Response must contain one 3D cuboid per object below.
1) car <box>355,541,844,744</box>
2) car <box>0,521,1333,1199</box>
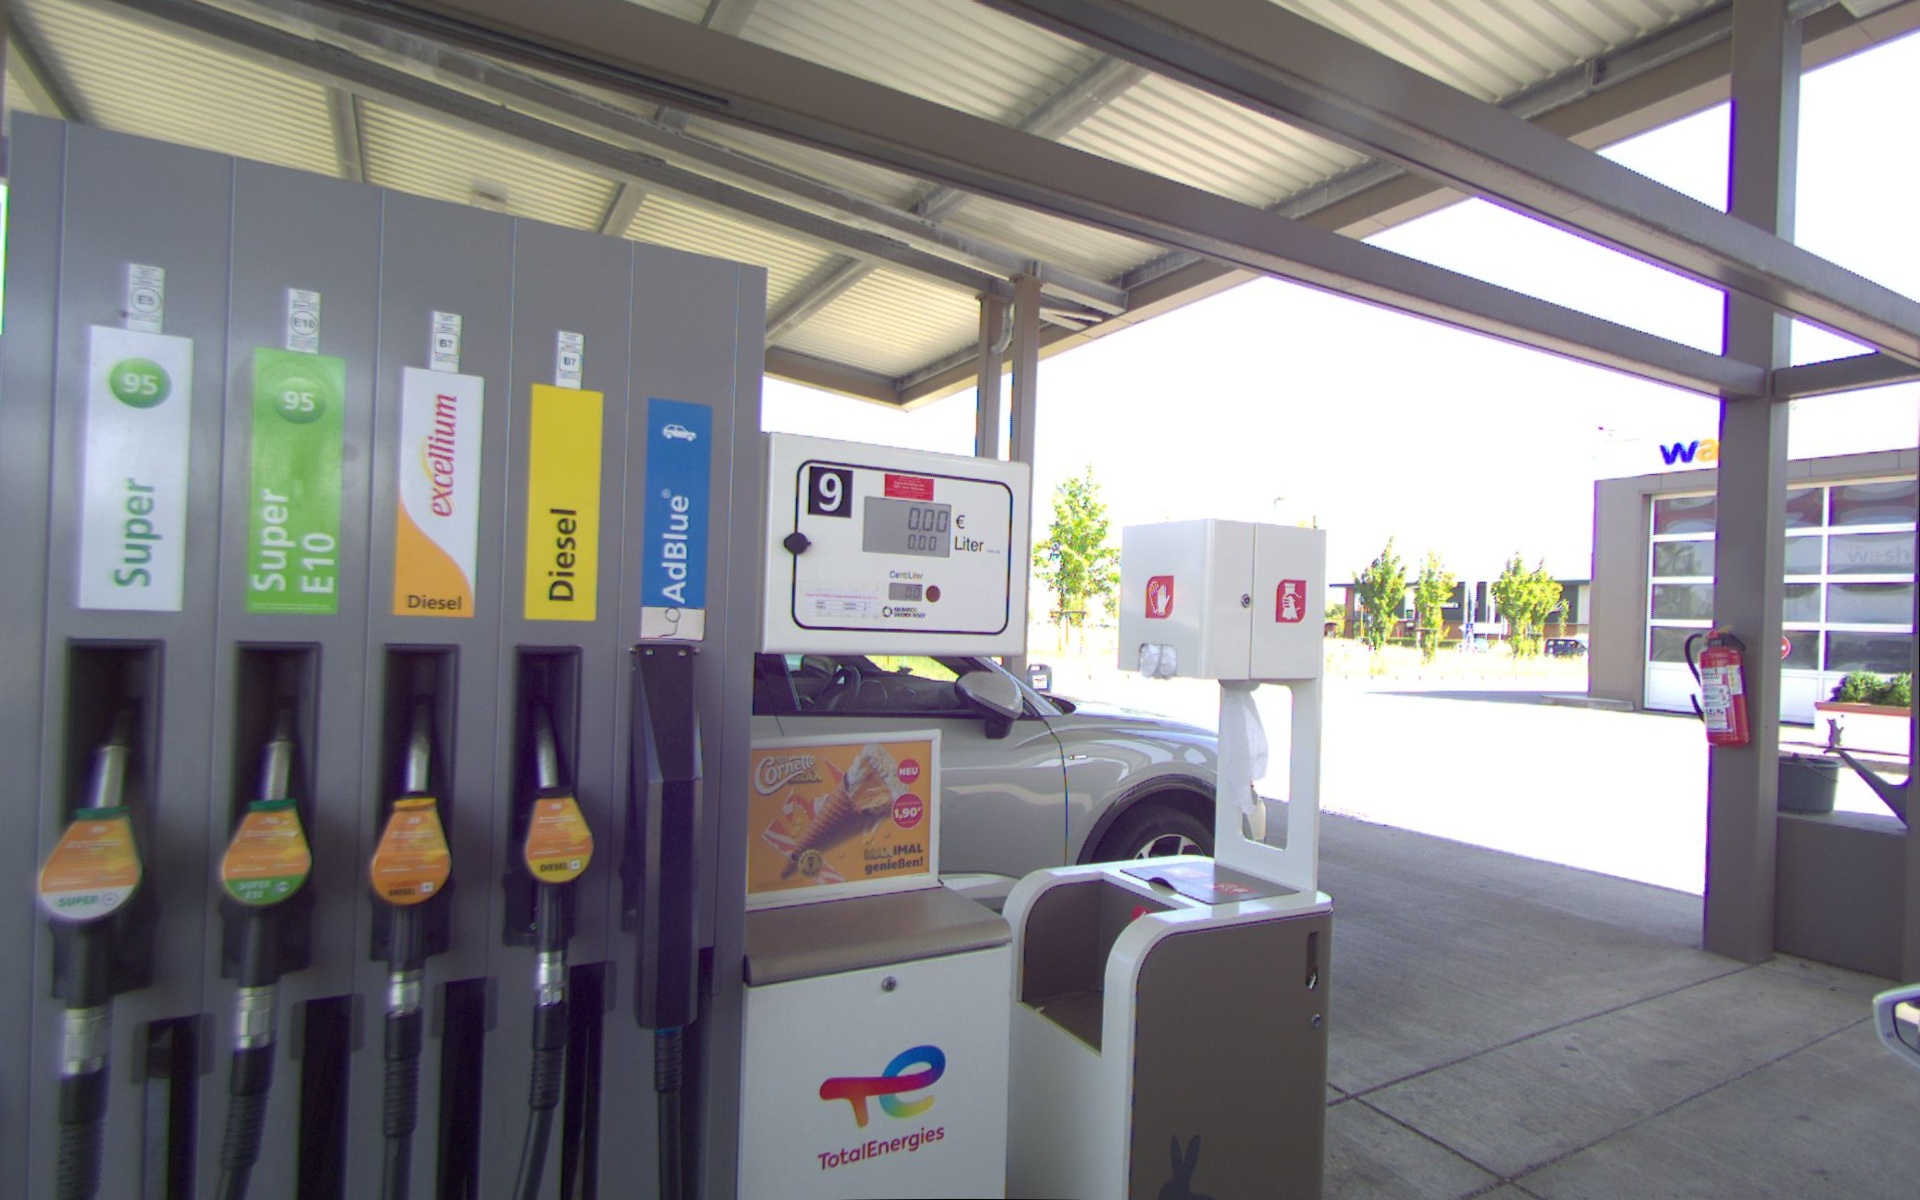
[{"bbox_3d":[-3.643,0.416,10.466,4.488,1.710,1.848,2,-1,-33],"label":"car"},{"bbox_3d":[-0.713,0.667,4.001,4.273,1.562,1.772,2,-1,-29],"label":"car"}]
